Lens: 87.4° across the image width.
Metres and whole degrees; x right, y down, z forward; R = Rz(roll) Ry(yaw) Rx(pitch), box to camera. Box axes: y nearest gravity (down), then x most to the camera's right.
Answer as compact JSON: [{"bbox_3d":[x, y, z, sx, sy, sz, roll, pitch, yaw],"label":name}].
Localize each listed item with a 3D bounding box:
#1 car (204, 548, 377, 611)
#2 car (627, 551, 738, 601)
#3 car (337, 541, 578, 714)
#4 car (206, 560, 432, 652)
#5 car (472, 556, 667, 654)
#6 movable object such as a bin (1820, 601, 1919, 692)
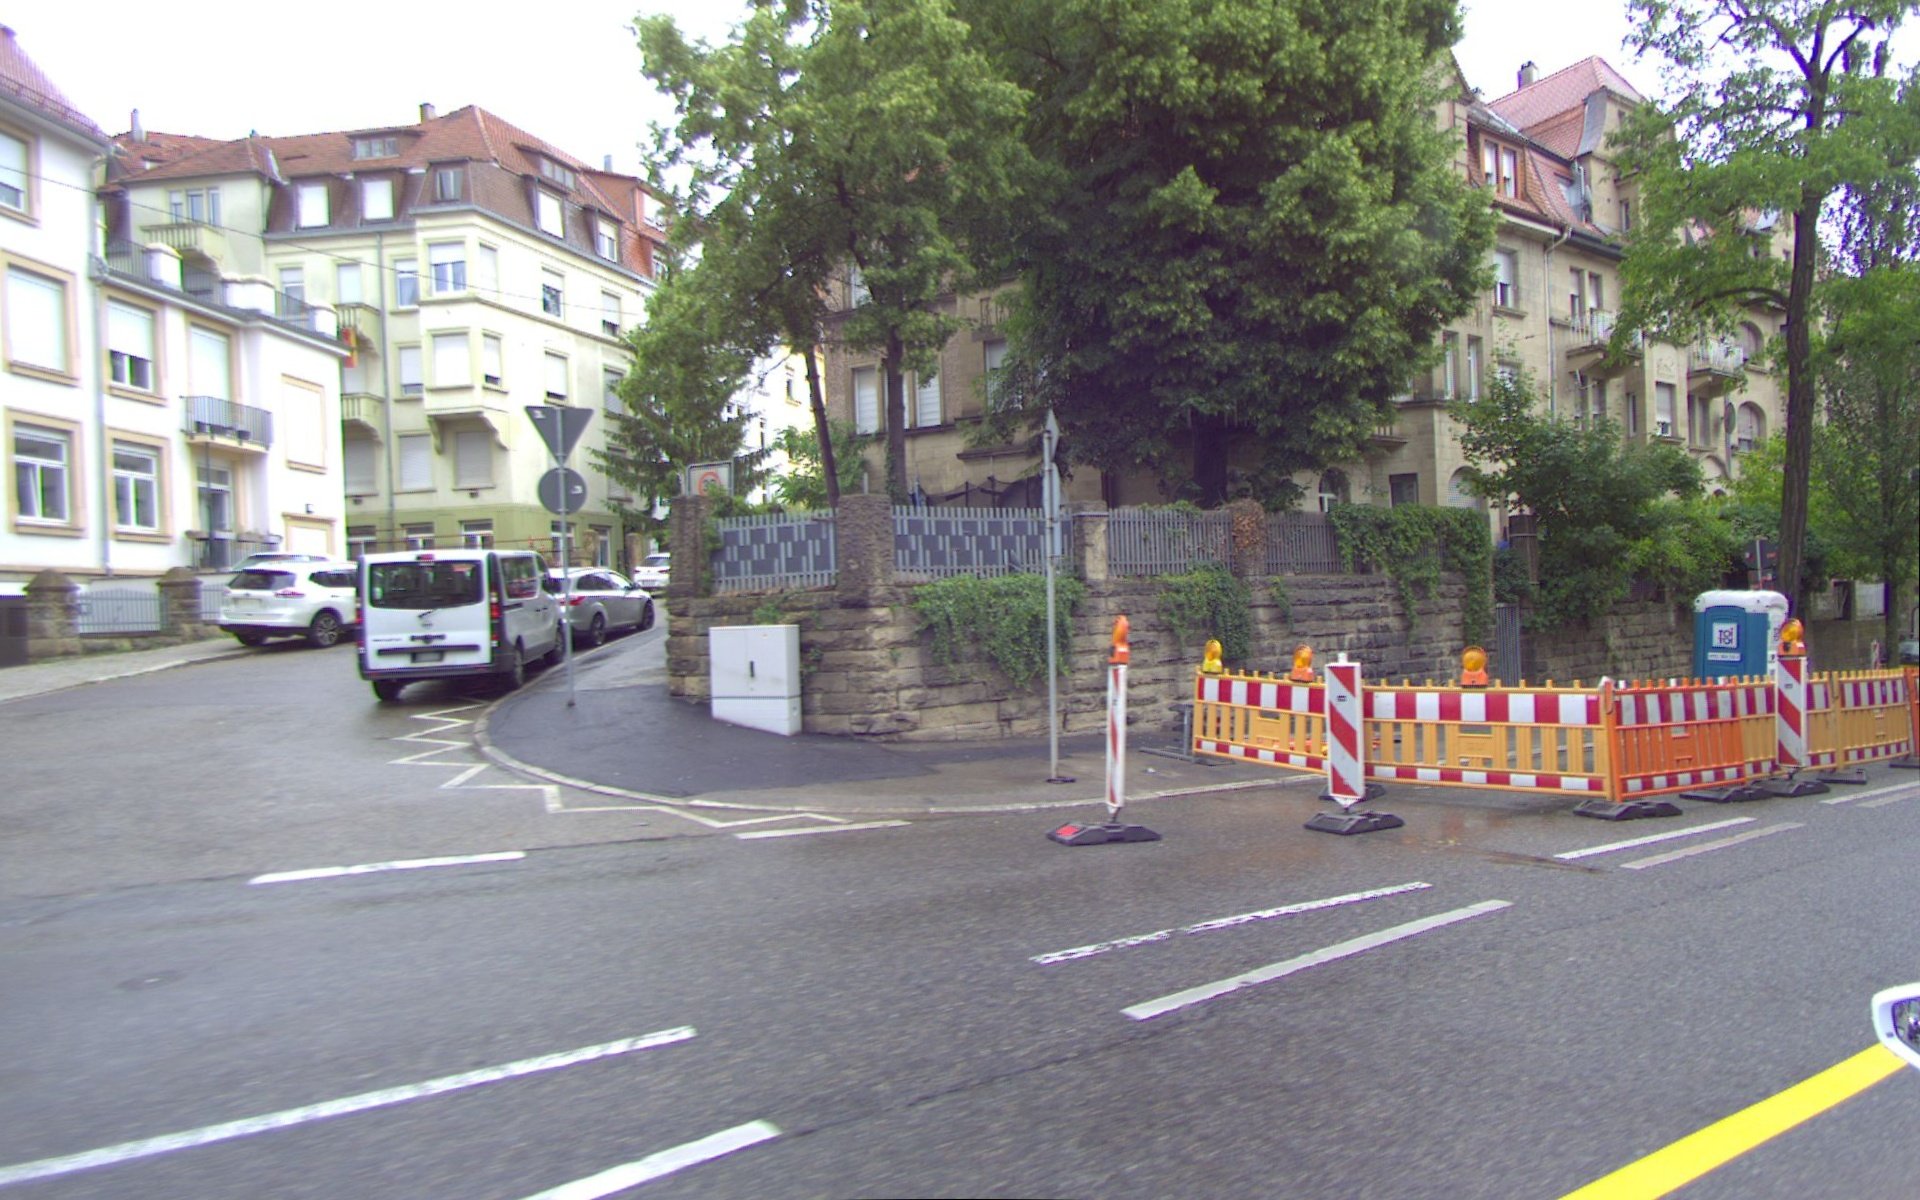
[{"bbox_3d":[-17.939,-0.561,27.143,1.740,1.494,3.837,3,1,8],"label":"car"},{"bbox_3d":[-9.729,-0.901,35.574,1.717,1.528,4.157,3,4,19],"label":"car"},{"bbox_3d":[-7.317,0.214,15.247,1.989,2.077,4.666,-1,5,-11],"label":"car"},{"bbox_3d":[-13.526,0.069,21.539,1.881,1.697,4.160,3,1,6],"label":"car"},{"bbox_3d":[-7.809,0.002,20.644,2.071,1.535,4.442,-2,5,2],"label":"car"},{"bbox_3d":[25.184,1.224,27.218,2.781,2.330,1.985,0,-2,-29],"label":"movable object such as a bin"}]
